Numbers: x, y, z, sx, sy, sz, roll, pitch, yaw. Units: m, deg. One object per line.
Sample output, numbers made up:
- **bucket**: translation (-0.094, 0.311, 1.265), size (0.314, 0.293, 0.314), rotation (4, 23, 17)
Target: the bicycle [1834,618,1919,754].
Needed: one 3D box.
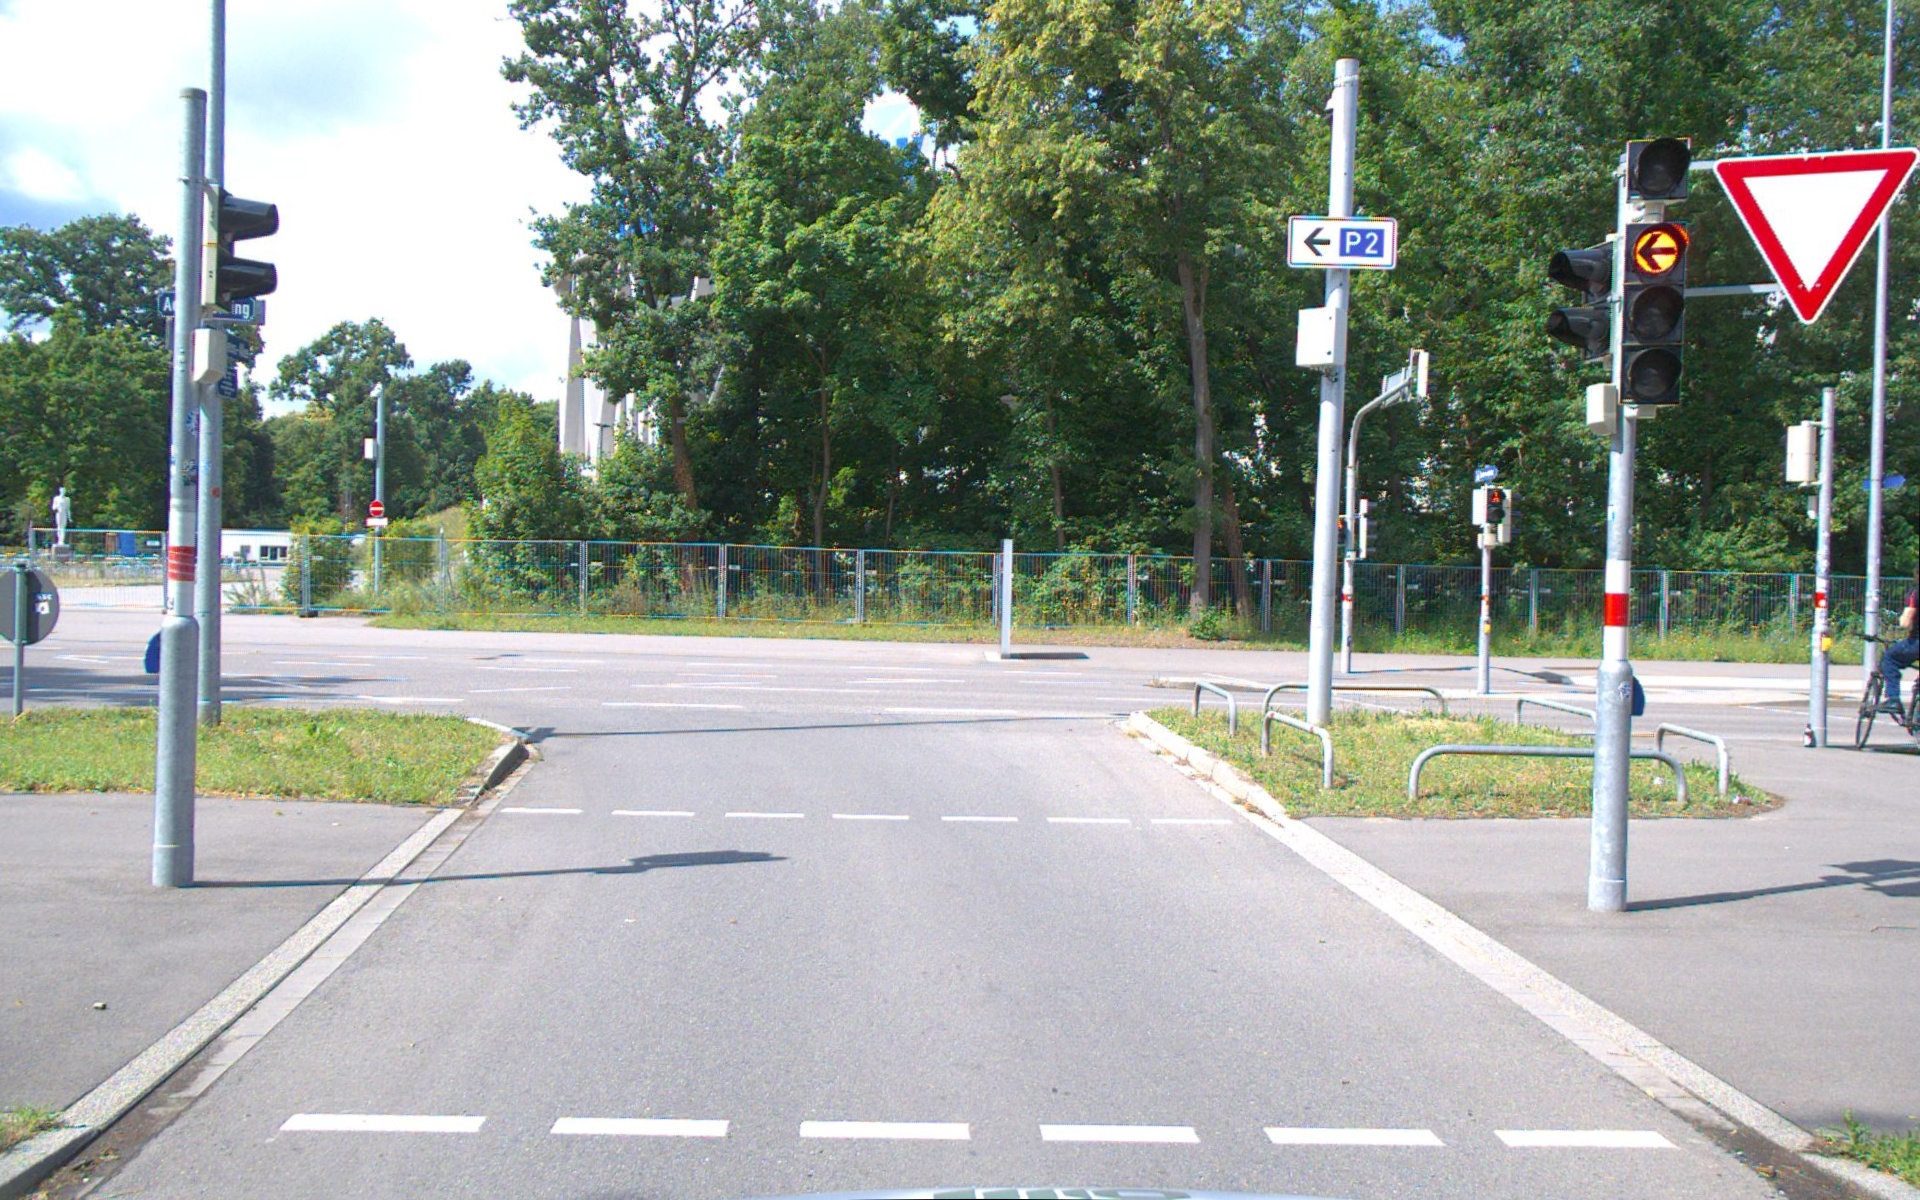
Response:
- **bicycle**: translation (9.235, 0.794, 15.903), size (0.861, 1.227, 1.899), rotation (1, 0, 8)

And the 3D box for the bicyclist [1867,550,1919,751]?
- **bicyclist**: translation (9.208, 0.471, 15.568), size (0.866, 1.829, 0.979), rotation (1, -1, 7)
